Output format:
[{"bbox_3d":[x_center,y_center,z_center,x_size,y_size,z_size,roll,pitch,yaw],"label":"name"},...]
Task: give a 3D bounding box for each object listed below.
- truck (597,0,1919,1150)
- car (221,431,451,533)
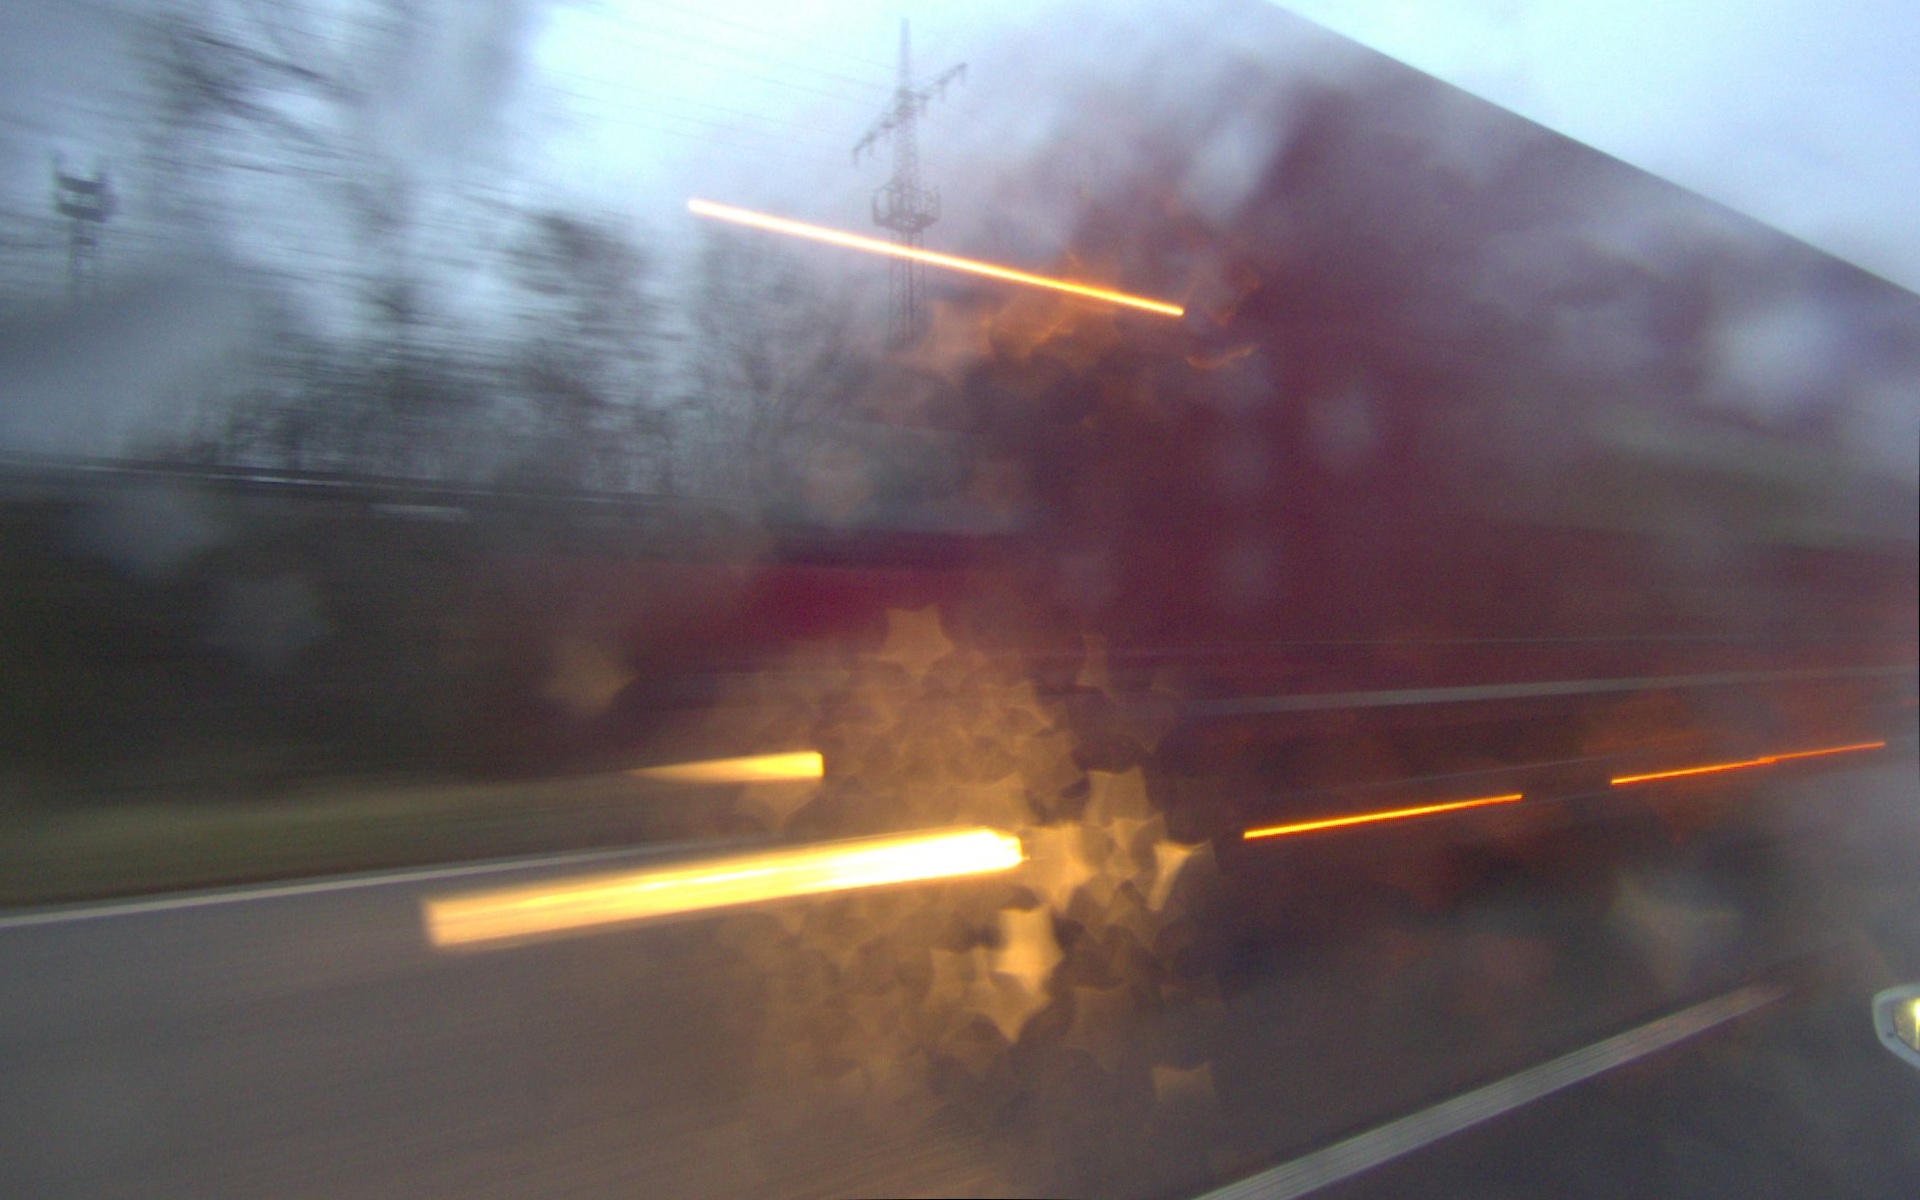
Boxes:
[{"bbox_3d":[3.134,-0.308,6.175,9.729,3.644,2.635,2,0,-31],"label":"truck"},{"bbox_3d":[-12.859,-2.370,20.936,3.898,1.656,1.775,2,2,-31],"label":"car"}]
